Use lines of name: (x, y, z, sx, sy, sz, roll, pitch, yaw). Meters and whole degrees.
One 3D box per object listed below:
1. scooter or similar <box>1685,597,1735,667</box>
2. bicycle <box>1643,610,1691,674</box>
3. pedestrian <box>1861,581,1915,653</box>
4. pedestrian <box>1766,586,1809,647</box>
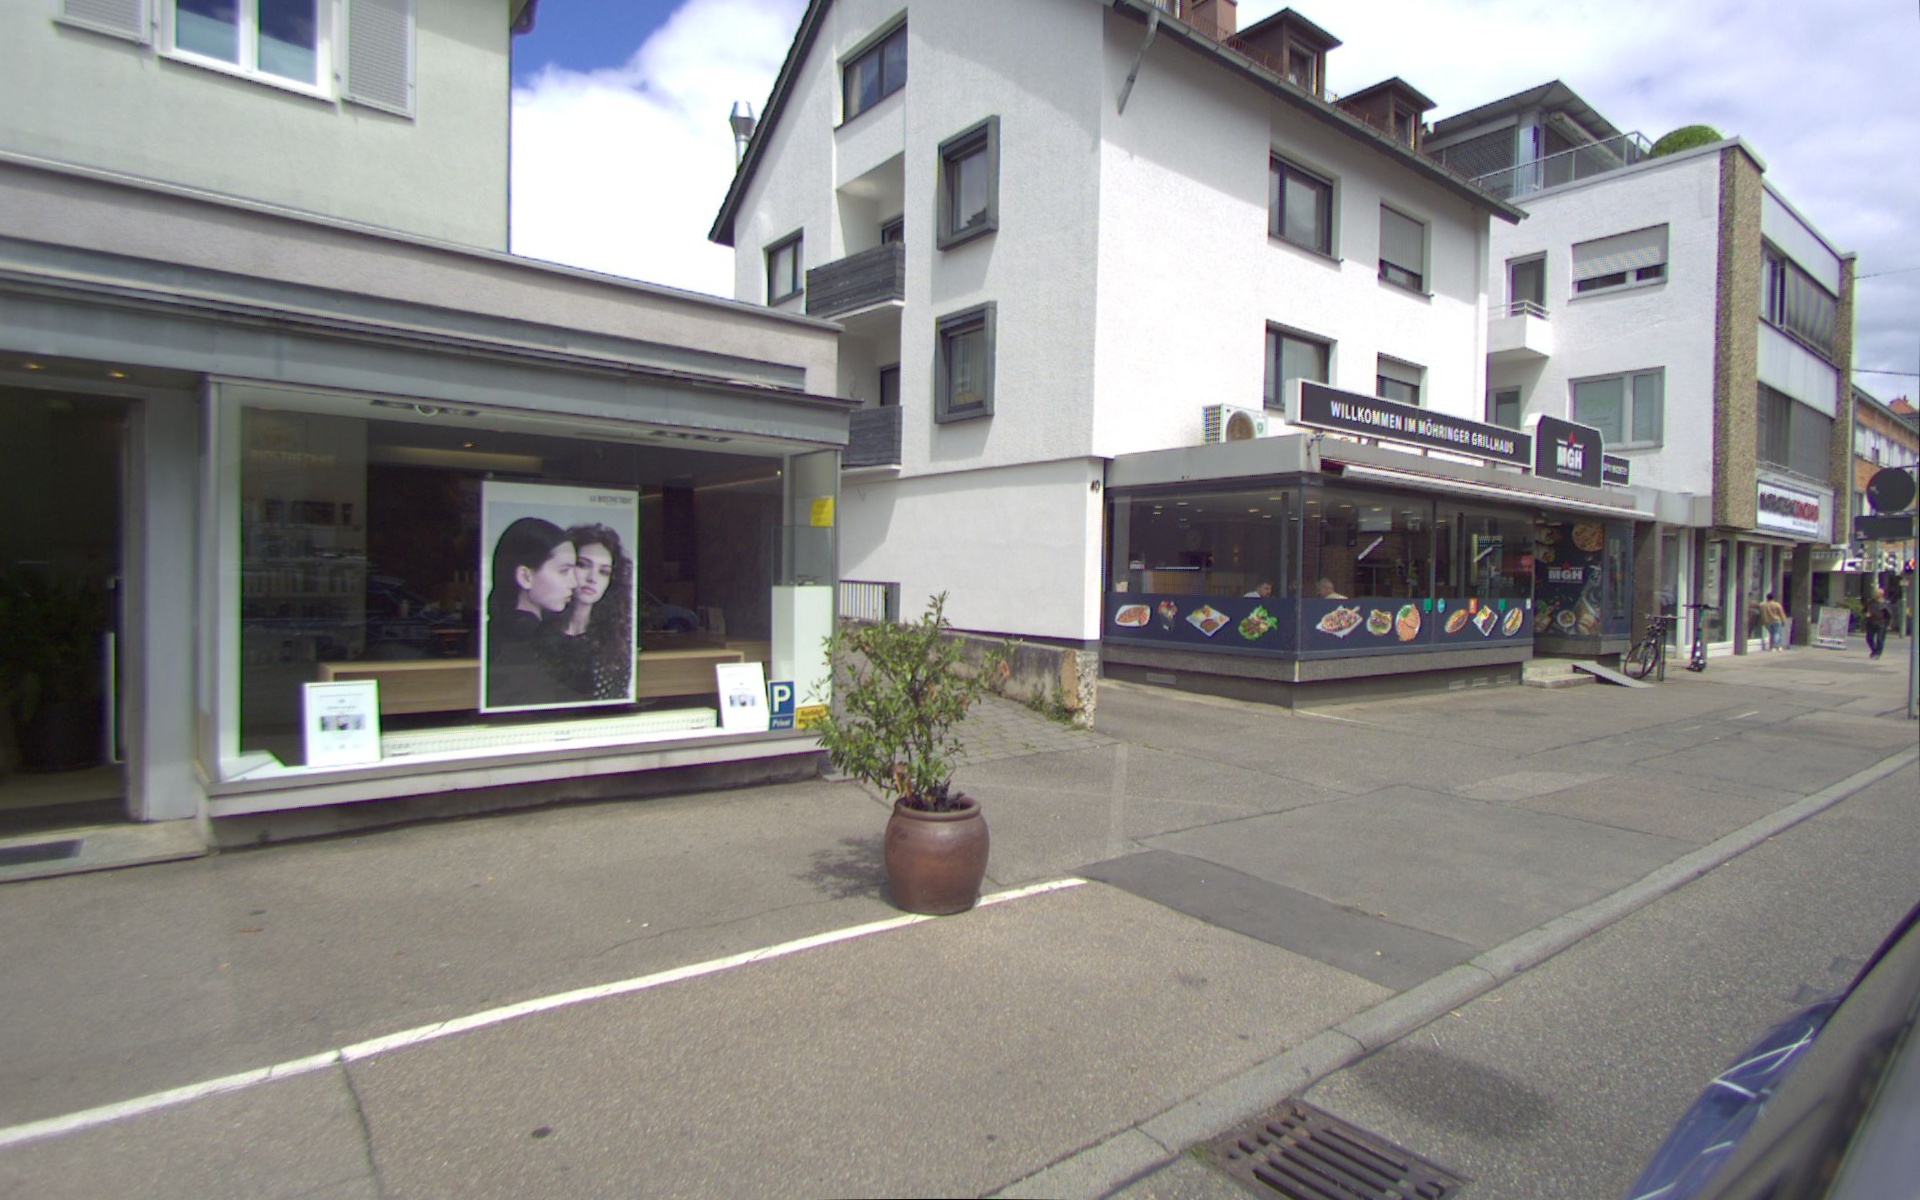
scooter or similar: (14.581, 0.602, 19.669, 0.686, 1.283, 1.169, 3, 2, 39)
bicycle: (12.546, 0.722, 17.939, 0.475, 1.040, 1.611, 3, 2, 42)
pedestrian: (22.495, 0.402, 24.541, 0.792, 1.691, 0.797, 1, 2, -39)
pedestrian: (21.168, 0.418, 25.894, 0.707, 1.517, 0.681, 1, 2, -39)
